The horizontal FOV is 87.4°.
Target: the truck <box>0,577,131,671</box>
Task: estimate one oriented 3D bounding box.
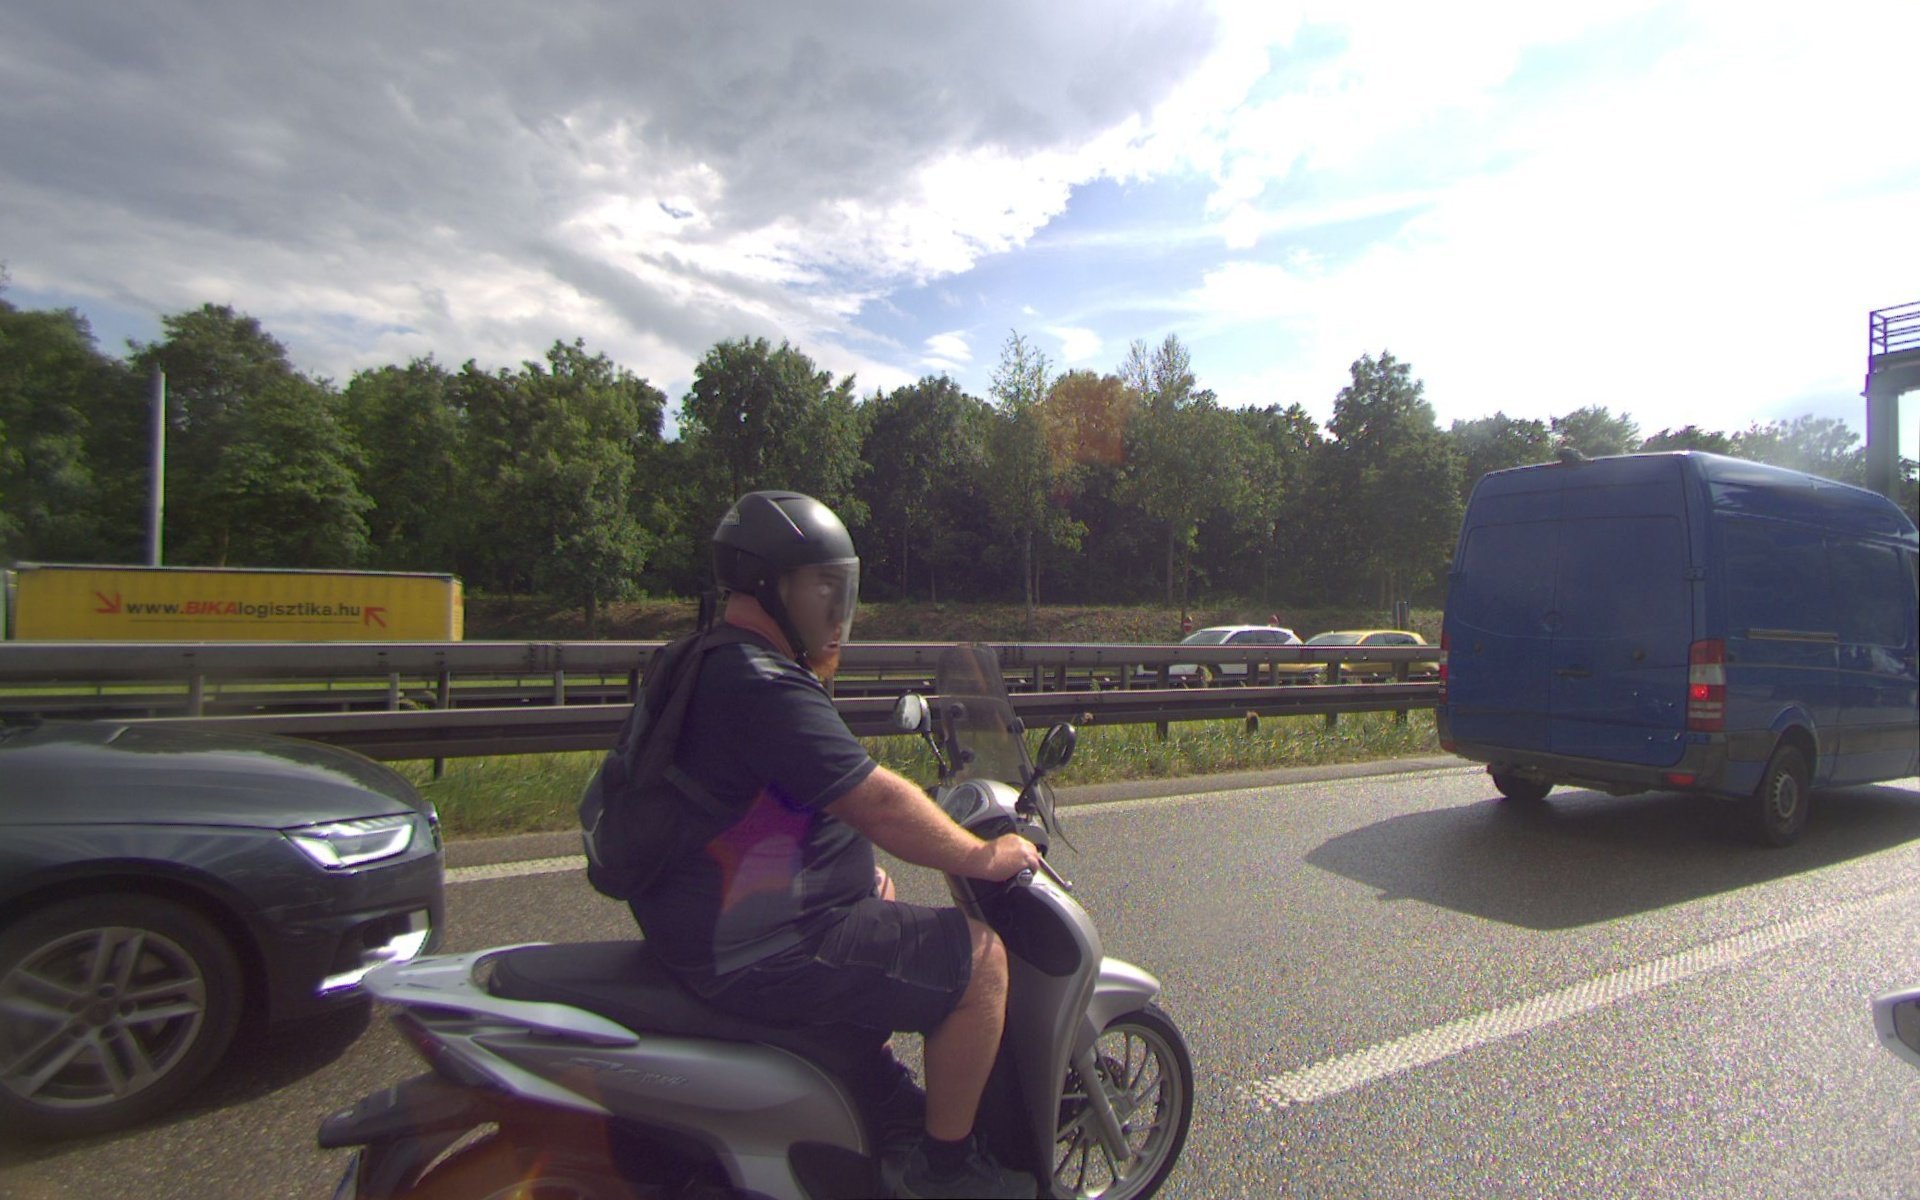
[{"bbox_3d":[-32.521,0.801,35.119,4.997,3.139,1.974,2,0,-19],"label":"truck"}]

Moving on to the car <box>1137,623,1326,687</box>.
[{"bbox_3d":[6.493,1.287,23.939,4.359,1.354,1.793,2,0,-30],"label":"car"}]

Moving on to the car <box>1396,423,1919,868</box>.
[{"bbox_3d":[6.353,0.342,8.398,5.710,2.684,2.005,2,0,-31],"label":"car"}]

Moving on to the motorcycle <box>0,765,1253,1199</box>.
[{"bbox_3d":[-0.383,0.979,1.881,1.961,1.101,0.672,1,0,-34],"label":"motorcycle"}]

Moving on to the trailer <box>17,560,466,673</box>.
[{"bbox_3d":[-25.997,0.711,37.293,13.444,3.744,1.992,2,0,-19],"label":"trailer"}]

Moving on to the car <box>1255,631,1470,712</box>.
[{"bbox_3d":[7.770,1.330,19.335,3.953,1.354,1.793,2,0,-30],"label":"car"}]

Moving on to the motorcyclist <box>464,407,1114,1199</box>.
[{"bbox_3d":[-0.326,0.482,1.913,1.009,1.461,0.666,2,0,-33],"label":"motorcyclist"}]

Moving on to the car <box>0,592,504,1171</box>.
[{"bbox_3d":[-3.728,0.672,2.671,4.416,1.430,1.711,2,-1,-31],"label":"car"}]
